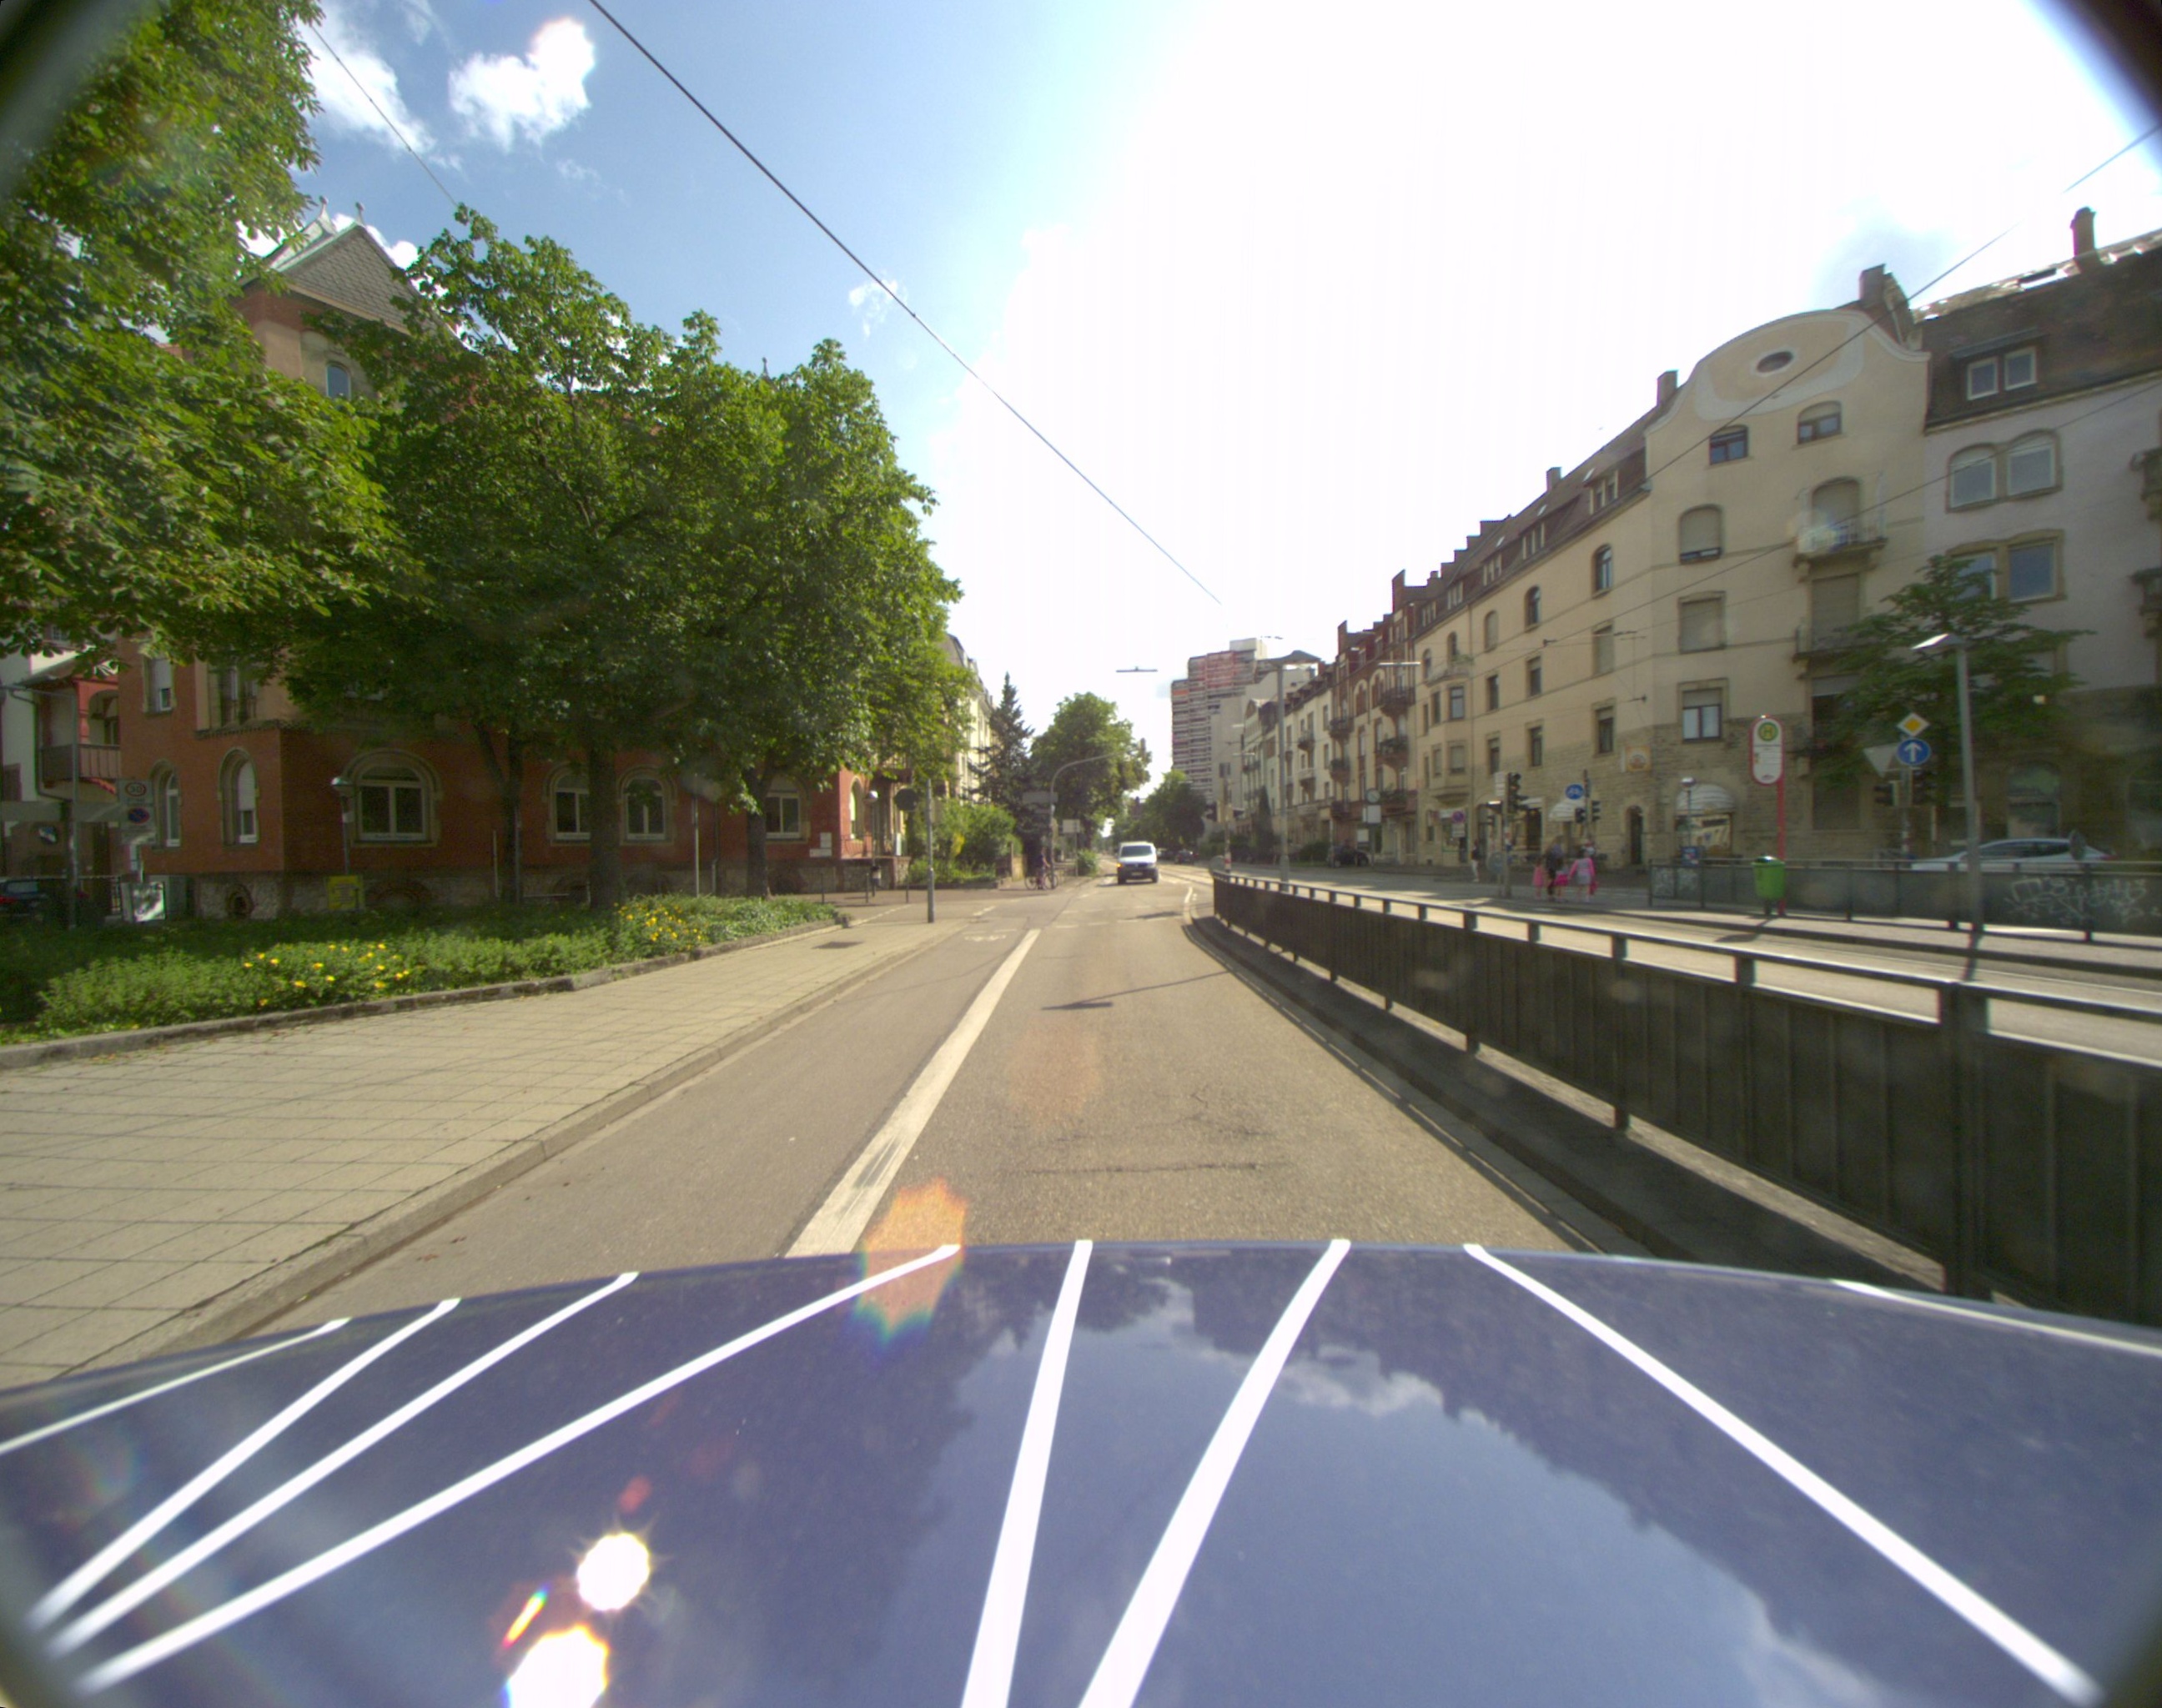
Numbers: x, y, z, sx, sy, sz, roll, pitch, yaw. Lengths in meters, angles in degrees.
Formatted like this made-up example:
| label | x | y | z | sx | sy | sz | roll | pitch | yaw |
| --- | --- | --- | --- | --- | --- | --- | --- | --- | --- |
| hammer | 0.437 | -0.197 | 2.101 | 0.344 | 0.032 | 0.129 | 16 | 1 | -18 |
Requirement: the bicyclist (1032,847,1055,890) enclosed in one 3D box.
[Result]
| label | x | y | z | sx | sy | sz | roll | pitch | yaw |
| --- | --- | --- | --- | --- | --- | --- | --- | --- | --- |
| bicyclist | -1.614 | 0.628 | 32.522 | 0.736 | 1.809 | 0.819 | -1 | 1 | -22 |

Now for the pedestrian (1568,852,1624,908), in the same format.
| label | x | y | z | sx | sy | sz | roll | pitch | yaw |
| --- | --- | --- | --- | --- | --- | --- | --- | --- | --- |
| pedestrian | 12.241 | 0.612 | 18.078 | 0.828 | 1.296 | 0.717 | 1 | 1 | -4 |

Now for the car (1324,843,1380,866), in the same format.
| label | x | y | z | sx | sy | sz | roll | pitch | yaw |
| --- | --- | --- | --- | --- | --- | --- | --- | --- | --- |
| car | 19.765 | 0.017 | 55.505 | 3.452 | 1.478 | 1.706 | -3 | 0 | 2 |

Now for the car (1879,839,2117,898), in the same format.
| label | x | y | z | sx | sy | sz | roll | pitch | yaw |
| --- | --- | --- | --- | --- | --- | --- | --- | --- | --- |
| car | 24.034 | 0.359 | 20.166 | 3.862 | 1.412 | 1.724 | -1 | 1 | 44 |

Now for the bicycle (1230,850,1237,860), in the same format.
| label | x | y | z | sx | sy | sz | roll | pitch | yaw |
| --- | --- | --- | --- | --- | --- | --- | --- | --- | --- |
| bicycle | 16.761 | 0.108 | 83.631 | 0.587 | 0.980 | 1.873 | -1 | 1 | 5 |

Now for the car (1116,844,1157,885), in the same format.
| label | x | y | z | sx | sy | sz | roll | pitch | yaw |
| --- | --- | --- | --- | --- | --- | --- | --- | --- | --- |
| car | 2.819 | 0.454 | 37.521 | 1.830 | 1.856 | 4.847 | -2 | 0 | 6 |

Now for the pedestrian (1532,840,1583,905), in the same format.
| label | x | y | z | sx | sy | sz | roll | pitch | yaw |
| --- | --- | --- | --- | --- | --- | --- | --- | --- | --- |
| pedestrian | 11.704 | 0.436 | 18.669 | 0.730 | 1.556 | 0.799 | -1 | 1 | -4 |

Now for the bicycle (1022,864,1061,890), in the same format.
| label | x | y | z | sx | sy | sz | roll | pitch | yaw |
| --- | --- | --- | --- | --- | --- | --- | --- | --- | --- |
| bicycle | -1.678 | 0.974 | 32.577 | 1.849 | 1.029 | 0.389 | -1 | 0 | -45 |

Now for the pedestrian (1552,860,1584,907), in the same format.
| label | x | y | z | sx | sy | sz | roll | pitch | yaw |
| --- | --- | --- | --- | --- | --- | --- | --- | --- | --- |
| pedestrian | 11.598 | 0.692 | 18.099 | 0.438 | 1.102 | 0.423 | 1 | 1 | -4 |

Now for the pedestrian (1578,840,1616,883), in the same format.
| label | x | y | z | sx | sy | sz | roll | pitch | yaw |
| --- | --- | --- | --- | --- | --- | --- | --- | --- | --- |
| pedestrian | 19.668 | 0.285 | 28.990 | 0.695 | 1.533 | 0.963 | -5 | 1 | 1 |

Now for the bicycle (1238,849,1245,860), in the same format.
| label | x | y | z | sx | sy | sz | roll | pitch | yaw |
| --- | --- | --- | --- | --- | --- | --- | --- | --- | --- |
| bicycle | 16.719 | 0.057 | 79.135 | 0.539 | 1.024 | 1.873 | -1 | 1 | 5 |

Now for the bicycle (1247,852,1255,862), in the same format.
| label | x | y | z | sx | sy | sz | roll | pitch | yaw |
| --- | --- | --- | --- | --- | --- | --- | --- | --- | --- |
| bicycle | 16.365 | 0.297 | 73.196 | 0.524 | 0.901 | 2.067 | -1 | 2 | 8 |

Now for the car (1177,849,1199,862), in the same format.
| label | x | y | z | sx | sy | sz | roll | pitch | yaw |
| --- | --- | --- | --- | --- | --- | --- | --- | --- | --- |
| car | 11.020 | 0.132 | 78.471 | 1.629 | 1.379 | 3.435 | 0 | 0 | -2 |

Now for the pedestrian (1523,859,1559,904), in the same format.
| label | x | y | z | sx | sy | sz | roll | pitch | yaw |
| --- | --- | --- | --- | --- | --- | --- | --- | --- | --- |
| pedestrian | 11.657 | 0.683 | 19.254 | 0.643 | 1.107 | 0.443 | -1 | 1 | -4 |

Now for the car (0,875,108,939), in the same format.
| label | x | y | z | sx | sy | sz | roll | pitch | yaw |
| --- | --- | --- | --- | --- | --- | --- | --- | --- | --- |
| car | -27.784 | 1.348 | 19.943 | 3.990 | 1.477 | 1.940 | -1 | 1 | 26 |

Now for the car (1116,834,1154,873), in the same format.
| label | x | y | z | sx | sy | sz | roll | pitch | yaw |
| --- | --- | --- | --- | --- | --- | --- | --- | --- | --- |
| car | 3.810 | -0.052 | 54.614 | 2.168 | 2.572 | 5.662 | -1 | 1 | -1 |

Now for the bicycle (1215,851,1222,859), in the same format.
| label | x | y | z | sx | sy | sz | roll | pitch | yaw |
| --- | --- | --- | --- | --- | --- | --- | --- | --- | --- |
| bicycle | 16.254 | 0.133 | 89.807 | 0.587 | 0.792 | 1.873 | -4 | 1 | 5 |

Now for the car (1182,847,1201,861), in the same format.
| label | x | y | z | sx | sy | sz | roll | pitch | yaw |
| --- | --- | --- | --- | --- | --- | --- | --- | --- | --- |
| car | 13.998 | -0.040 | 96.637 | 1.796 | 1.701 | 4.331 | -1 | 0 | 0 |

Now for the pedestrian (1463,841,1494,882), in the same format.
| label | x | y | z | sx | sy | sz | roll | pitch | yaw |
| --- | --- | --- | --- | --- | --- | --- | --- | --- | --- |
| pedestrian | 17.184 | 0.306 | 32.881 | 0.758 | 1.695 | 0.874 | -5 | 1 | 0 |
